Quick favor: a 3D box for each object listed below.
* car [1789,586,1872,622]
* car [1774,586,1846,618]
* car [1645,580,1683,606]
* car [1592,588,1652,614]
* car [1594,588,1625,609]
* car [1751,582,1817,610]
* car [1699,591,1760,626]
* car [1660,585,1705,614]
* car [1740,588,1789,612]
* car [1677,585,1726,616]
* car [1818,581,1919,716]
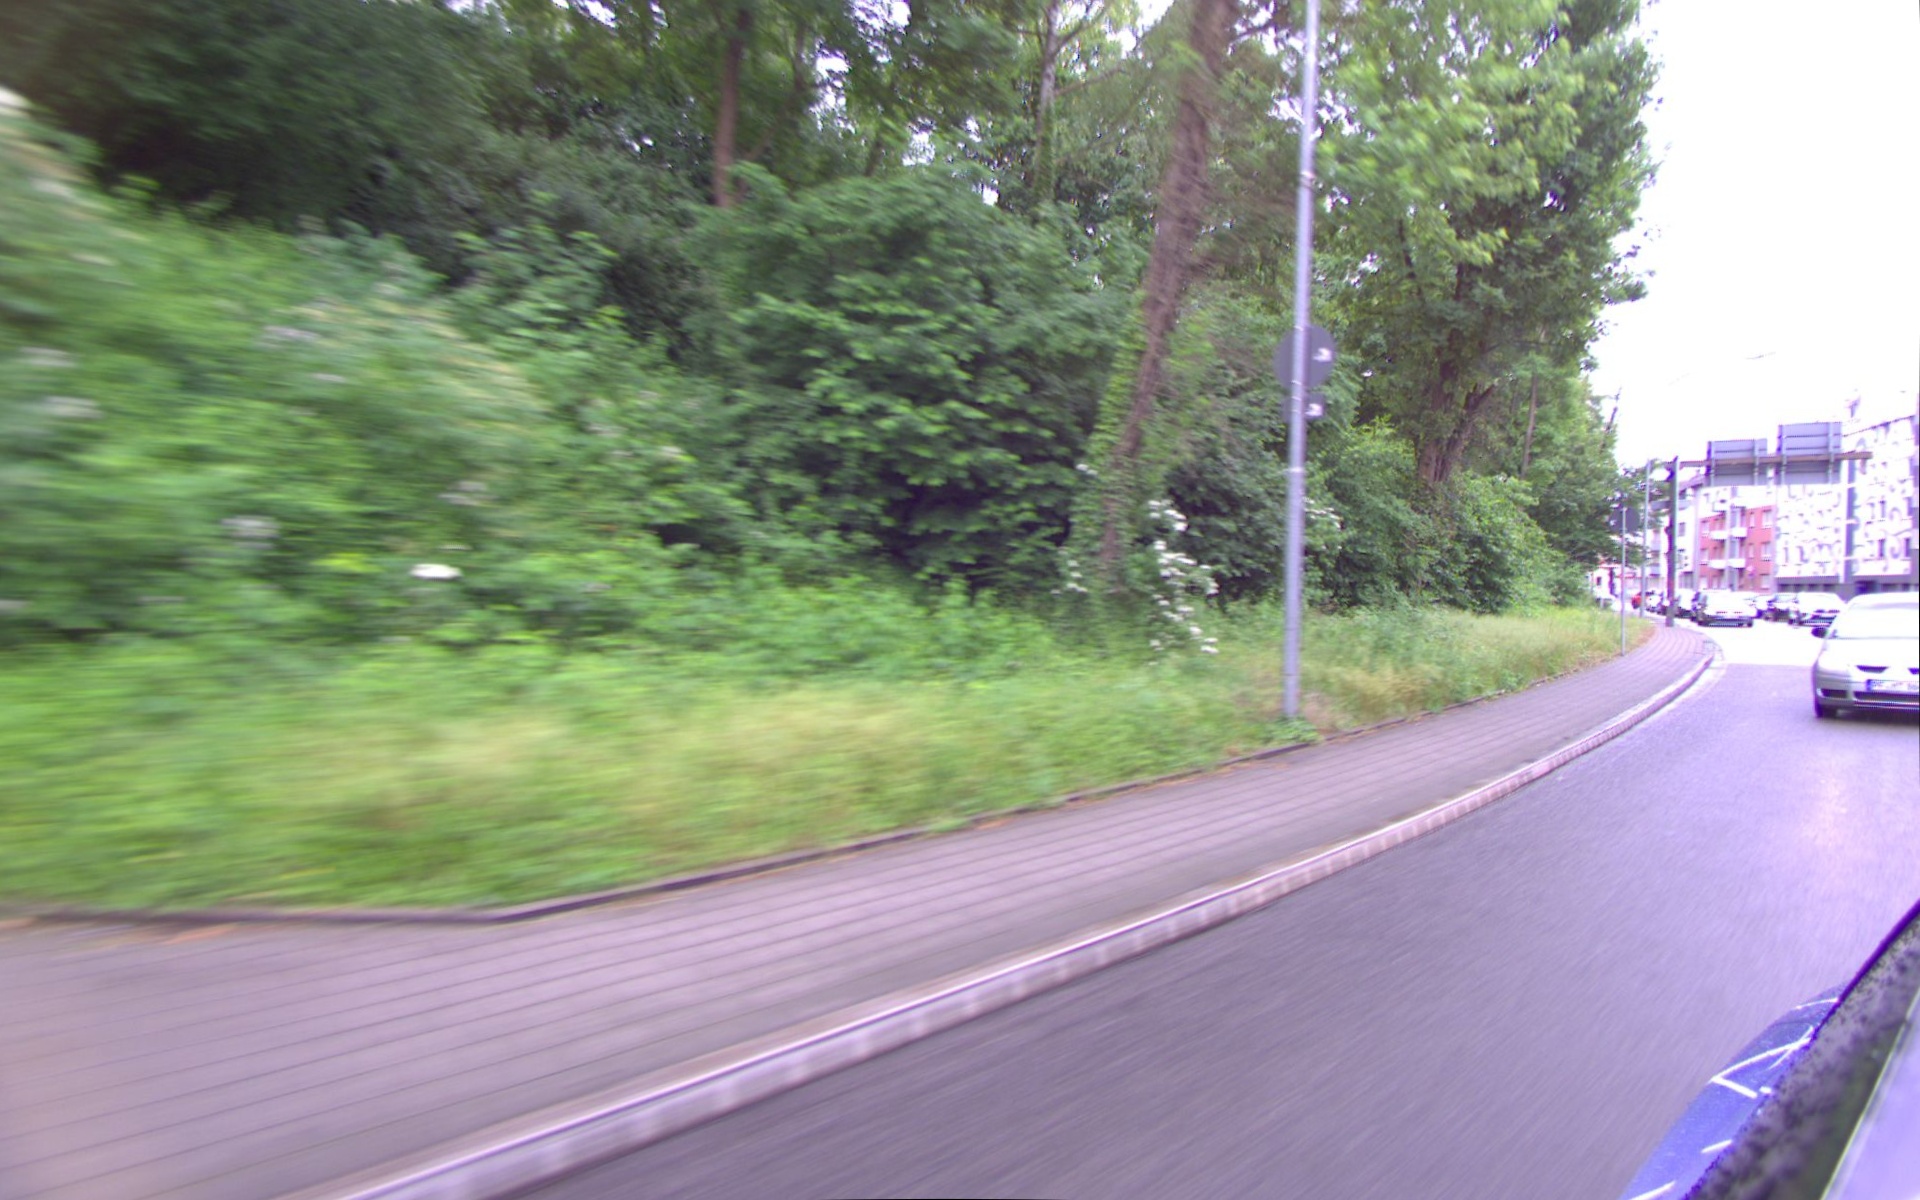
[{"bbox_3d":[39.073,0.133,45.544,1.862,1.496,4.509,1,1,29],"label":"car"},{"bbox_3d":[42.639,0.051,50.860,1.904,1.496,4.572,1,1,30],"label":"car"},{"bbox_3d":[47.335,-0.474,68.099,1.667,1.677,3.960,1,1,28],"label":"car"},{"bbox_3d":[53.329,0.052,81.620,1.962,2.039,4.487,0,1,1],"label":"car"},{"bbox_3d":[56.125,-0.187,87.488,1.894,1.733,4.846,0,1,29],"label":"car"},{"bbox_3d":[45.830,-0.250,56.379,1.982,1.496,4.574,1,1,29],"label":"car"},{"bbox_3d":[33.801,0.328,44.552,1.807,1.426,4.182,1,1,33],"label":"car"},{"bbox_3d":[44.003,-0.080,61.699,1.667,1.677,3.960,1,1,28],"label":"car"},{"bbox_3d":[48.455,-0.019,60.993,1.698,1.411,3.958,1,1,30],"label":"car"},{"bbox_3d":[41.247,-0.008,56.365,1.667,1.677,3.960,1,1,28],"label":"car"},{"bbox_3d":[12.370,0.558,12.850,3.931,1.538,1.750,0,0,-42],"label":"car"}]
